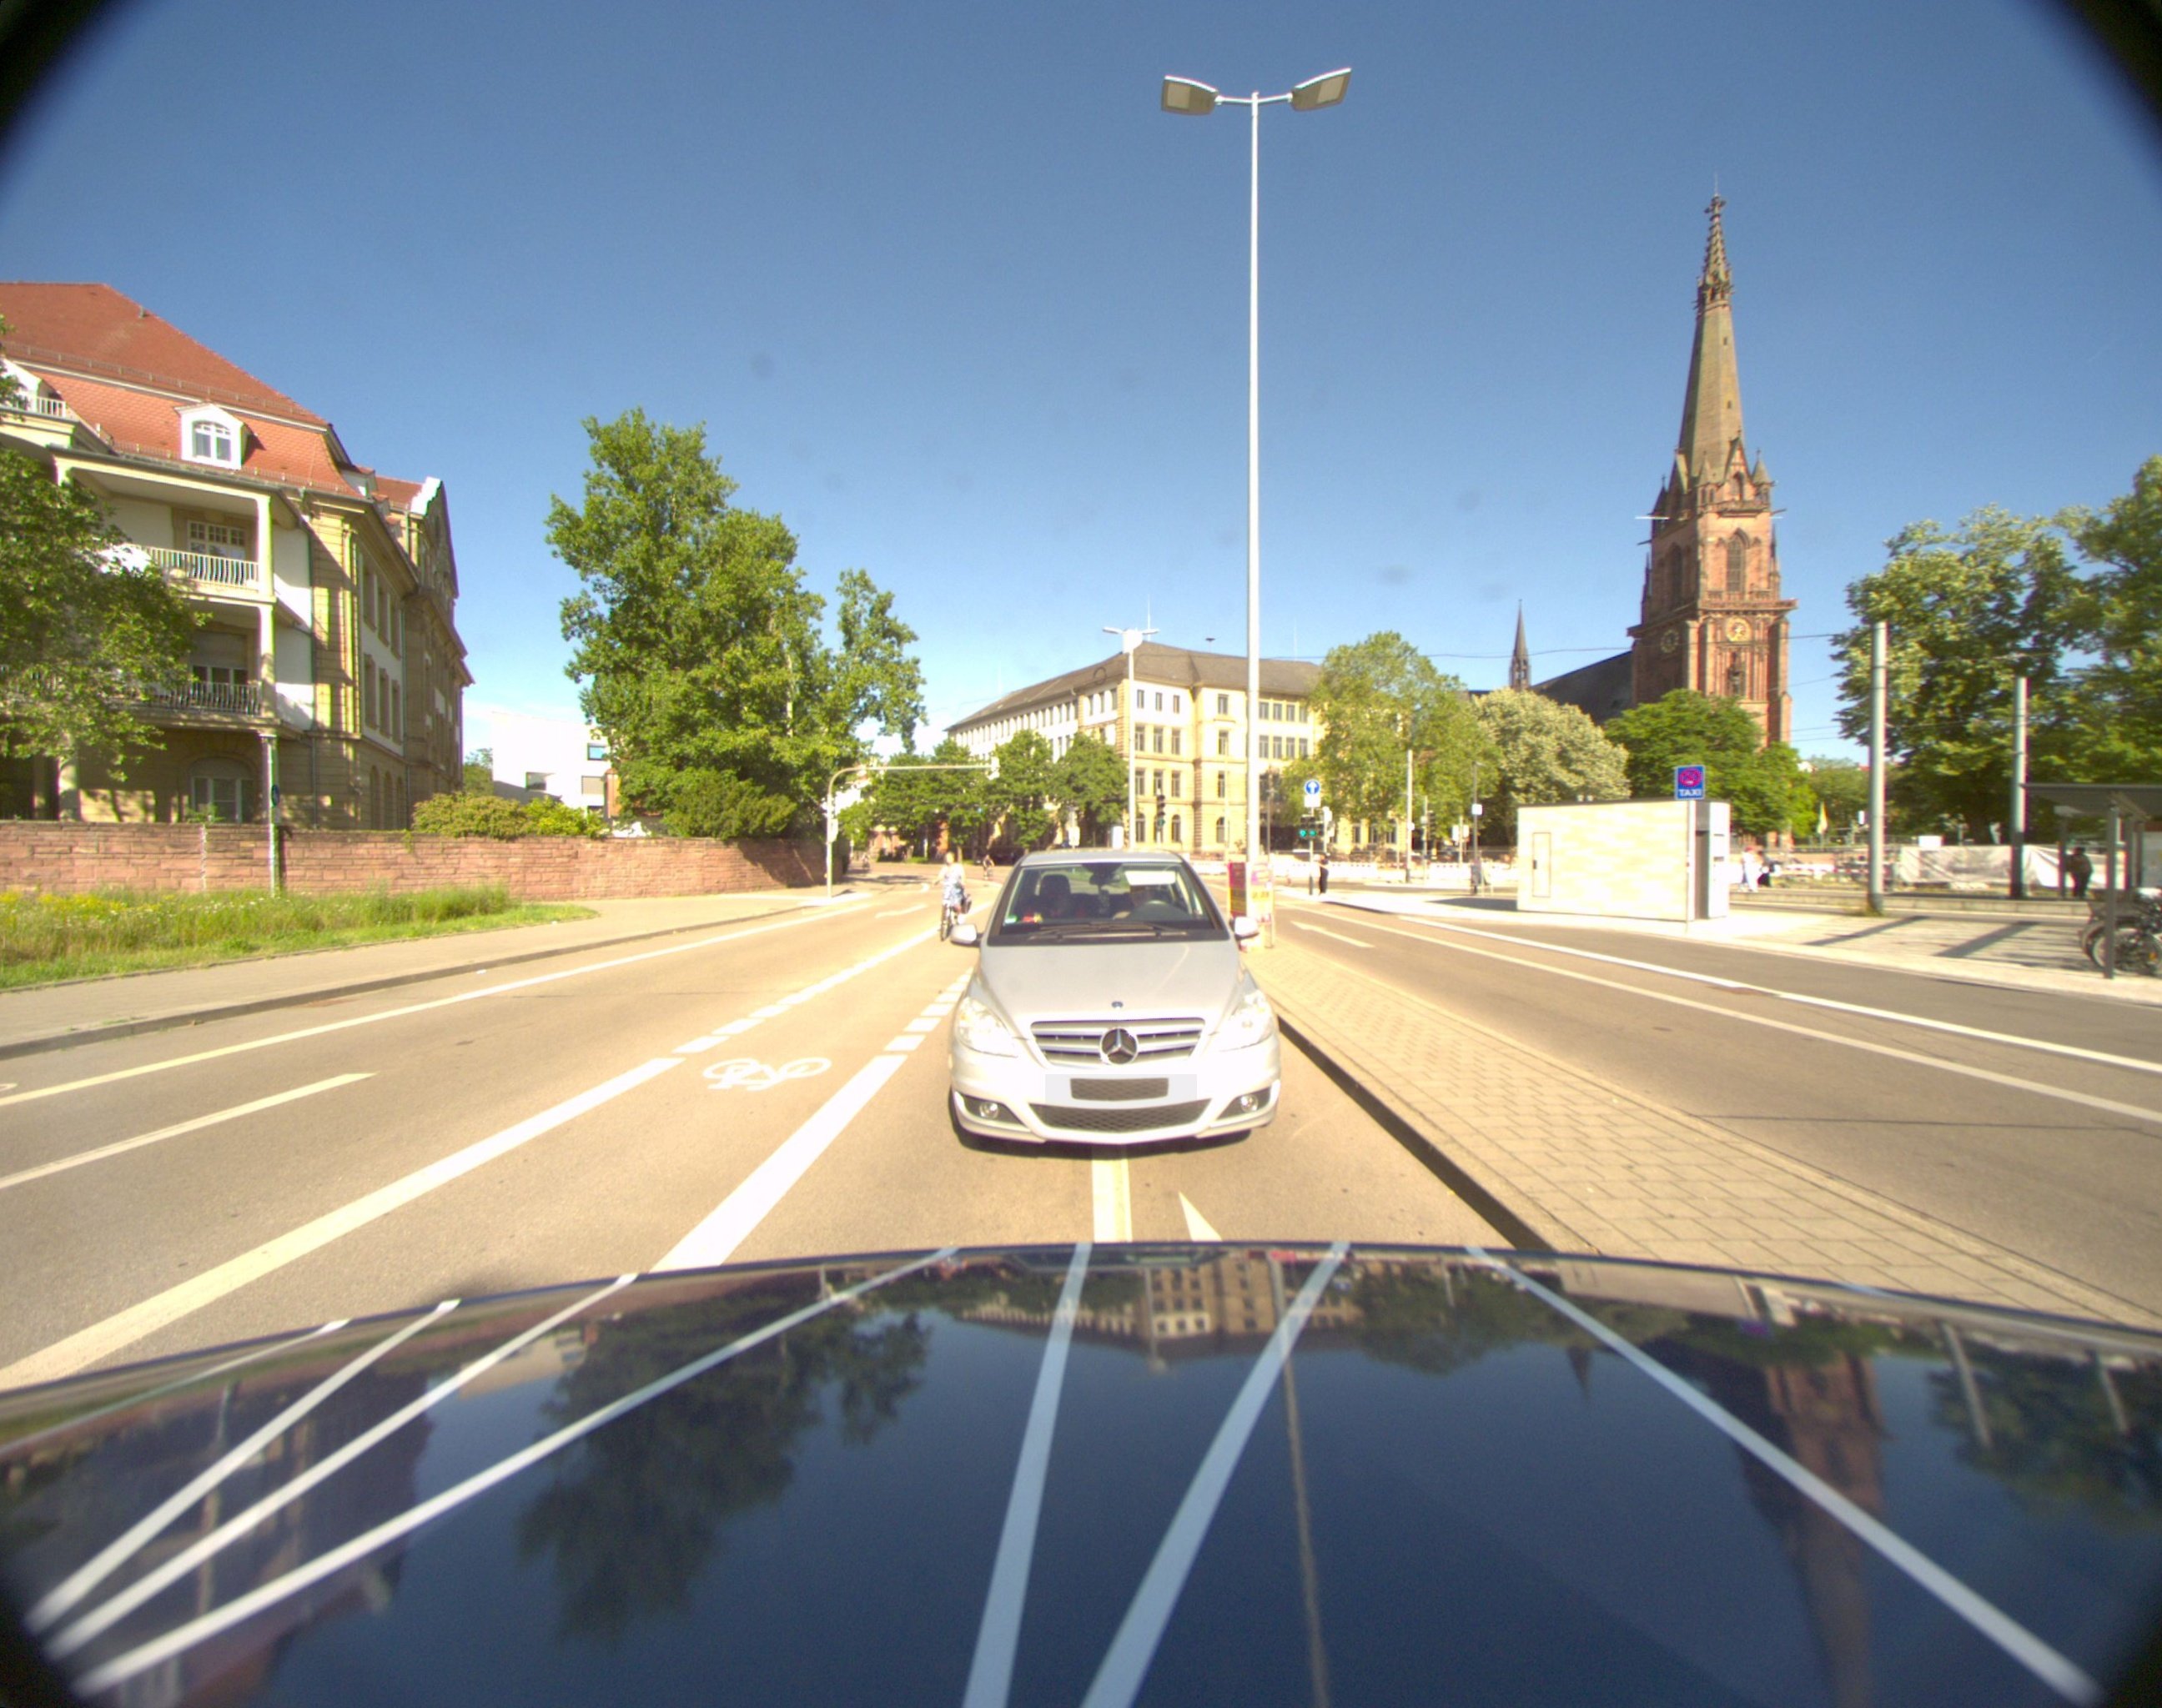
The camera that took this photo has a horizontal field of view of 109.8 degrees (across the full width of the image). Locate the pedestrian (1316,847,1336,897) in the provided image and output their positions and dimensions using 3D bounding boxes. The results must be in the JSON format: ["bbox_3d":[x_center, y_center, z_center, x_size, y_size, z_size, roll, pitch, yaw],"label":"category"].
[{"bbox_3d":[9.319,0.673,28.921,0.693,1.844,0.679,0,1,14],"label":"pedestrian"}]

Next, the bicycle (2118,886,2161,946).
[{"bbox_3d":[19.127,1.097,12.951,0.458,1.003,1.667,-1,1,-33],"label":"bicycle"}]

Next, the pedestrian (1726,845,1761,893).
[{"bbox_3d":[24.738,0.541,28.367,0.980,1.769,0.801,-1,1,-37],"label":"pedestrian"}]

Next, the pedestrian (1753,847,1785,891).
[{"bbox_3d":[28.633,0.609,31.637,0.980,1.769,0.801,-1,1,-37],"label":"pedestrian"}]

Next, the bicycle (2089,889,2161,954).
[{"bbox_3d":[17.913,1.126,12.430,0.458,1.003,1.667,-1,1,-33],"label":"bicycle"}]

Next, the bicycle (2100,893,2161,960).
[{"bbox_3d":[17.259,1.146,11.657,0.458,1.003,1.899,-1,1,-33],"label":"bicycle"}]

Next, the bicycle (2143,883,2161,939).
[{"bbox_3d":[20.487,1.062,13.613,0.458,1.003,1.667,-1,1,-33],"label":"bicycle"}]

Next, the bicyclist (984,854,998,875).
[{"bbox_3d":[-5.683,0.652,48.033,0.711,1.309,0.777,-1,1,0],"label":"bicyclist"}]

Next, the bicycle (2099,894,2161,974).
[{"bbox_3d":[15.200,1.122,10.282,0.458,1.055,1.667,-1,1,-33],"label":"bicycle"}]

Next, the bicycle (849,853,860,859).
[{"bbox_3d":[-35.119,0.340,117.806,1.830,0.985,0.735,0,1,44],"label":"bicycle"}]

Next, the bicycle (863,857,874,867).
[{"bbox_3d":[-20.489,0.761,73.372,0.713,0.938,1.781,-1,1,-26],"label":"bicycle"}]

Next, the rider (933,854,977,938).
[{"bbox_3d":[-2.493,0.813,15.139,0.658,1.610,0.989,-1,1,1],"label":"rider"}]

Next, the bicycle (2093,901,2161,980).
[{"bbox_3d":[14.699,1.170,9.967,0.458,1.003,1.667,-1,1,-33],"label":"bicycle"}]

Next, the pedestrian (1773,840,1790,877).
[{"bbox_3d":[40.729,0.277,44.162,0.571,2.142,0.549,-1,1,-25],"label":"pedestrian"}]

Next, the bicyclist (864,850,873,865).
[{"bbox_3d":[-20.510,0.334,73.400,0.707,1.400,0.770,-1,1,-26],"label":"bicyclist"}]

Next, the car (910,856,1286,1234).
[{"bbox_3d":[0.052,0.890,5.472,1.706,1.657,3.913,-1,1,-1],"label":"car"}]

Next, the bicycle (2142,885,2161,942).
[{"bbox_3d":[19.894,1.074,13.202,0.458,1.003,1.667,-1,1,-33],"label":"bicycle"}]

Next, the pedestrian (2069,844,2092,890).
[{"bbox_3d":[37.546,0.498,28.549,0.404,1.711,0.419,1,1,38],"label":"pedestrian"}]

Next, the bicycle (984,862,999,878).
[{"bbox_3d":[-5.683,1.002,48.171,0.711,1.000,1.753,-1,1,1],"label":"bicycle"}]

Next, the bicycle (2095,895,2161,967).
[{"bbox_3d":[16.072,1.147,10.978,0.458,1.003,1.667,-1,1,-33],"label":"bicycle"}]
